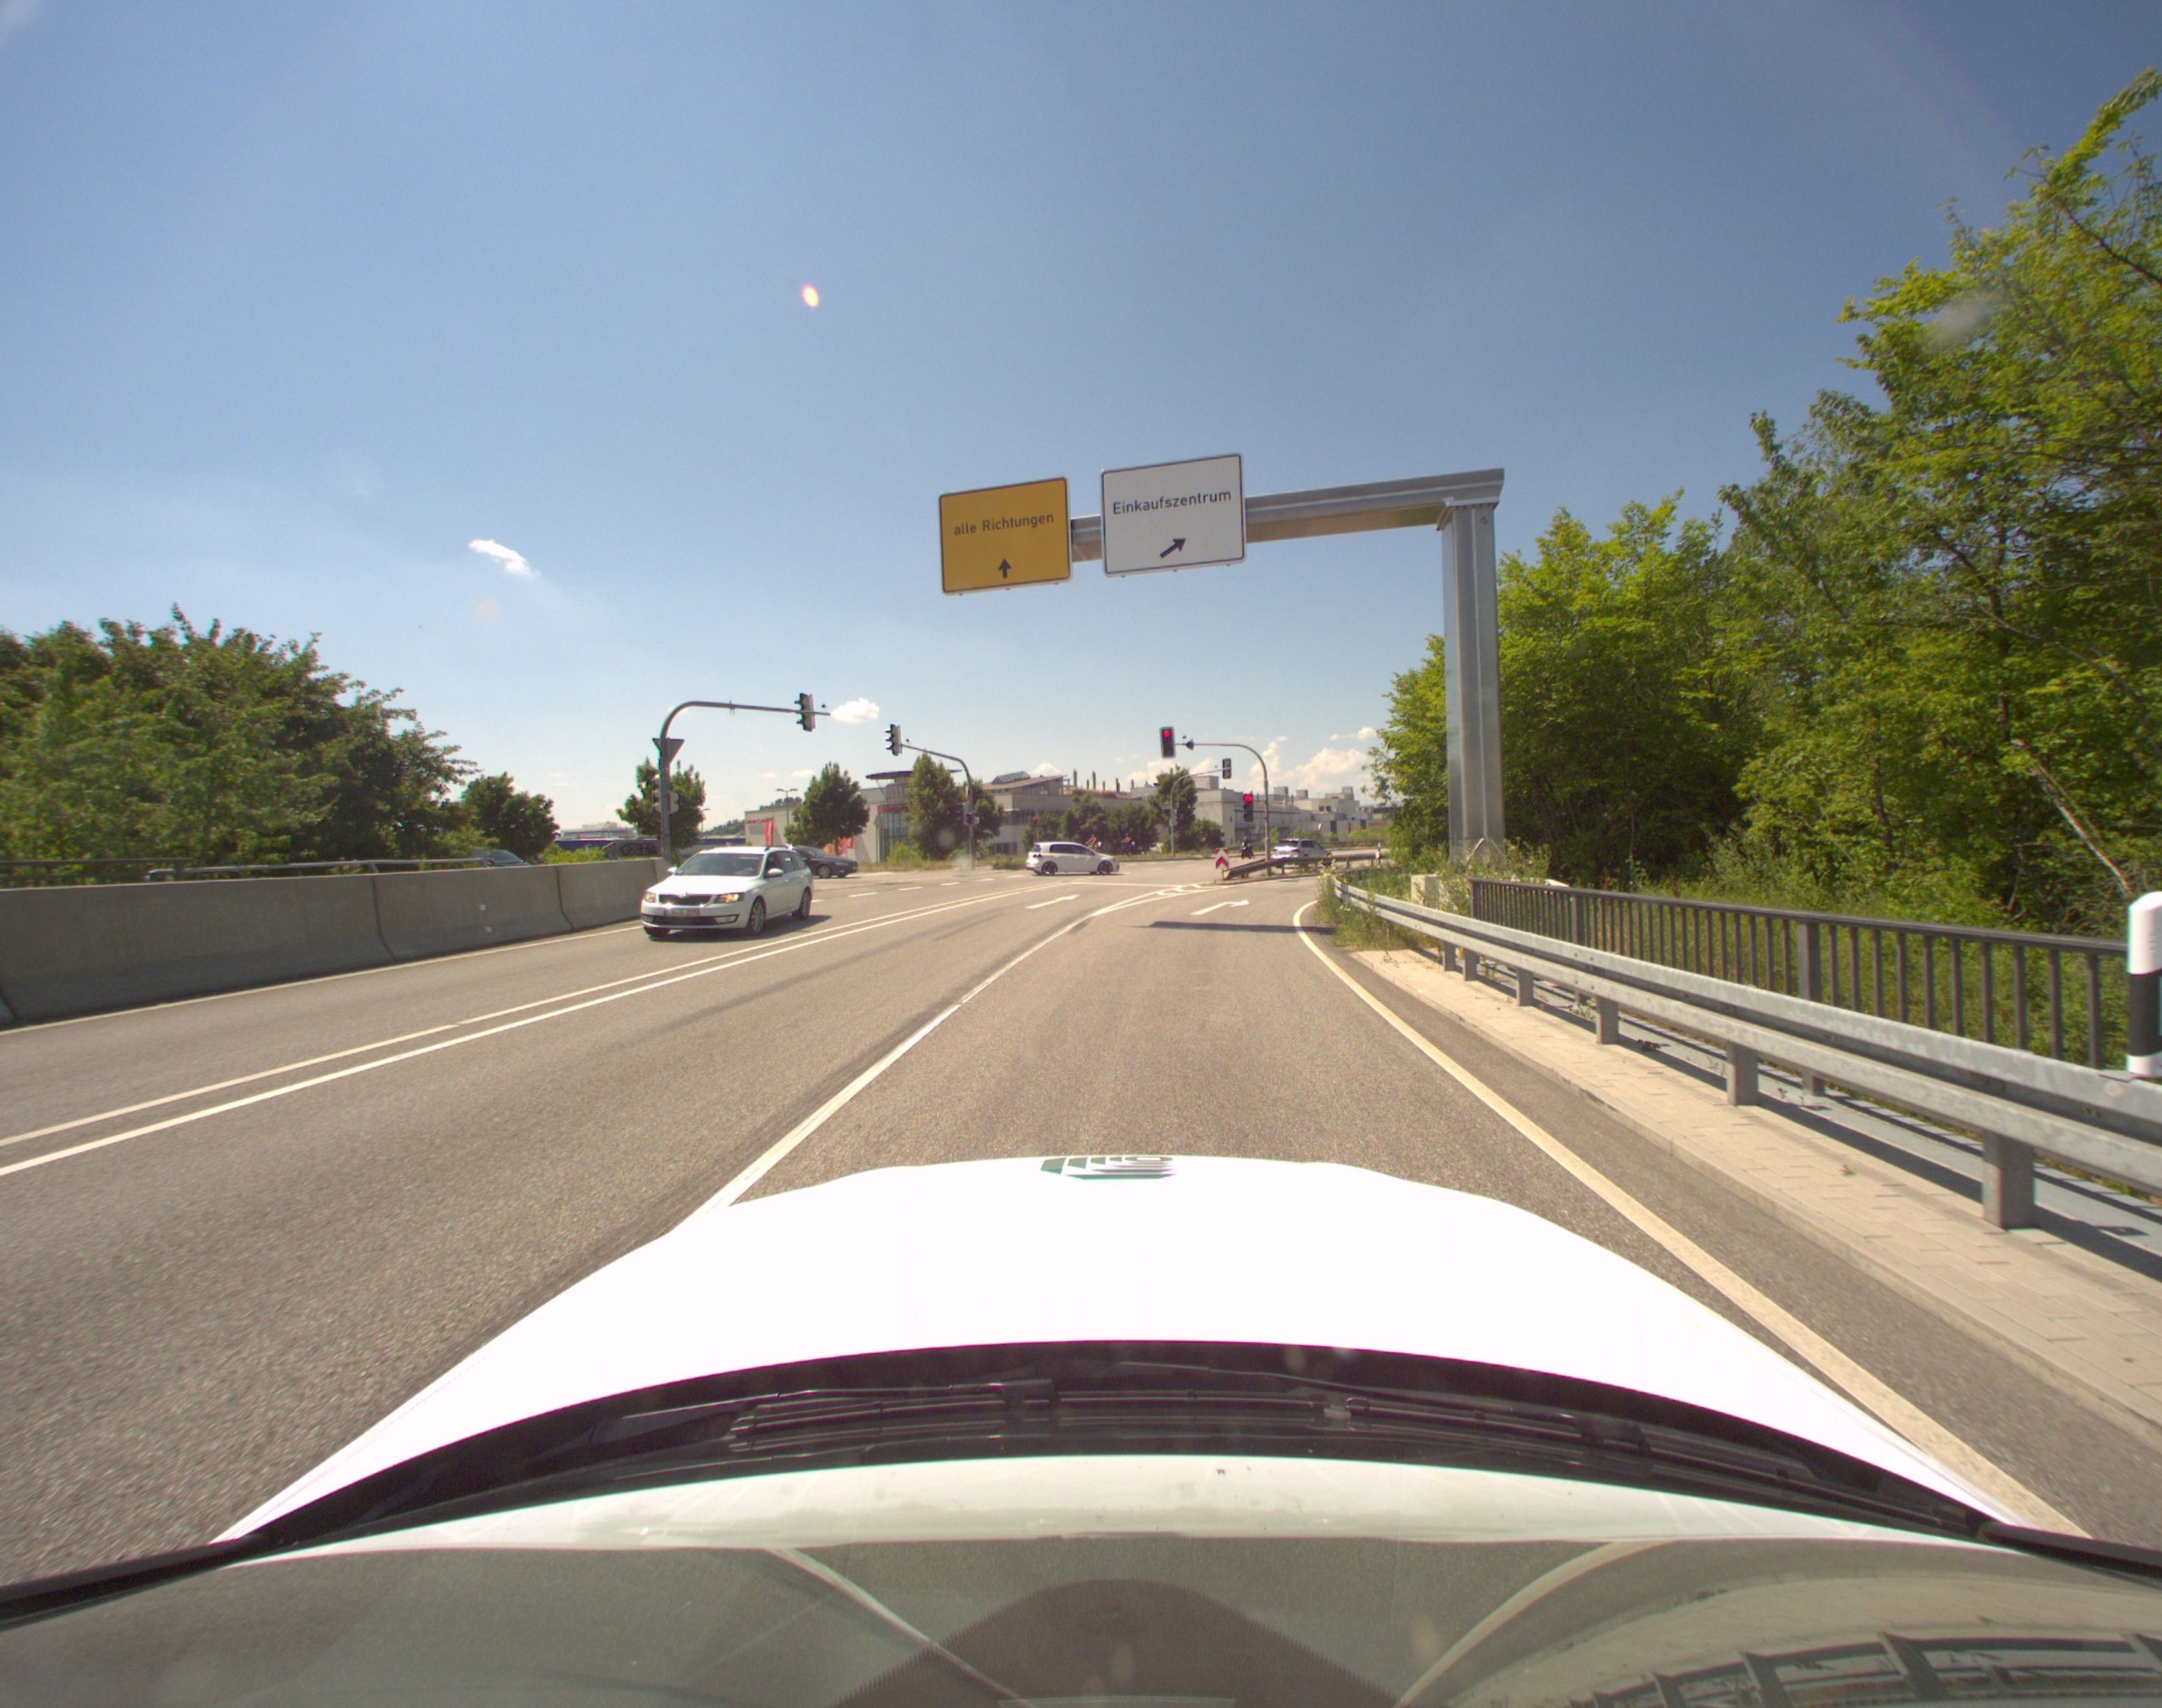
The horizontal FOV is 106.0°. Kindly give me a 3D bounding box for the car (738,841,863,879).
[{"bbox_3d":[-12.006,0.253,35.057,4.704,1.545,1.736,-1,0,-1],"label":"car"}]

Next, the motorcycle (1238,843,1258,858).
[{"bbox_3d":[12.549,-0.290,61.018,0.557,1.080,2.299,-1,0,36],"label":"motorcycle"}]

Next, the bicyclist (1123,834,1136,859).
[{"bbox_3d":[3.421,-0.535,57.651,0.733,1.717,0.526,0,2,-32],"label":"bicyclist"}]

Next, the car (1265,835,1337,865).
[{"bbox_3d":[12.403,-0.225,45.706,1.975,1.505,4.422,-2,0,44],"label":"car"}]

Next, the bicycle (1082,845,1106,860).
[{"bbox_3d":[0.940,-0.110,57.004,1.841,1.024,0.410,-1,2,-40],"label":"bicycle"}]

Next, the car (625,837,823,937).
[{"bbox_3d":[-6.194,0.475,14.793,1.783,1.495,4.546,-1,1,-4],"label":"car"}]

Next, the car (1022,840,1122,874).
[{"bbox_3d":[-0.414,0.108,36.561,4.131,1.486,1.989,0,1,-17],"label":"car"}]

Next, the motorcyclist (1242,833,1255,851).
[{"bbox_3d":[12.600,-0.928,61.102,0.668,1.303,0.728,-2,-1,36],"label":"motorcyclist"}]

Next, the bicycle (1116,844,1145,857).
[{"bbox_3d":[3.517,-0.261,57.725,2.135,0.852,0.530,-1,2,-33],"label":"bicycle"}]

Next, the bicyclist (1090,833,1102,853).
[{"bbox_3d":[1.052,-0.788,57.095,0.688,1.404,0.404,0,1,-40],"label":"bicyclist"}]
